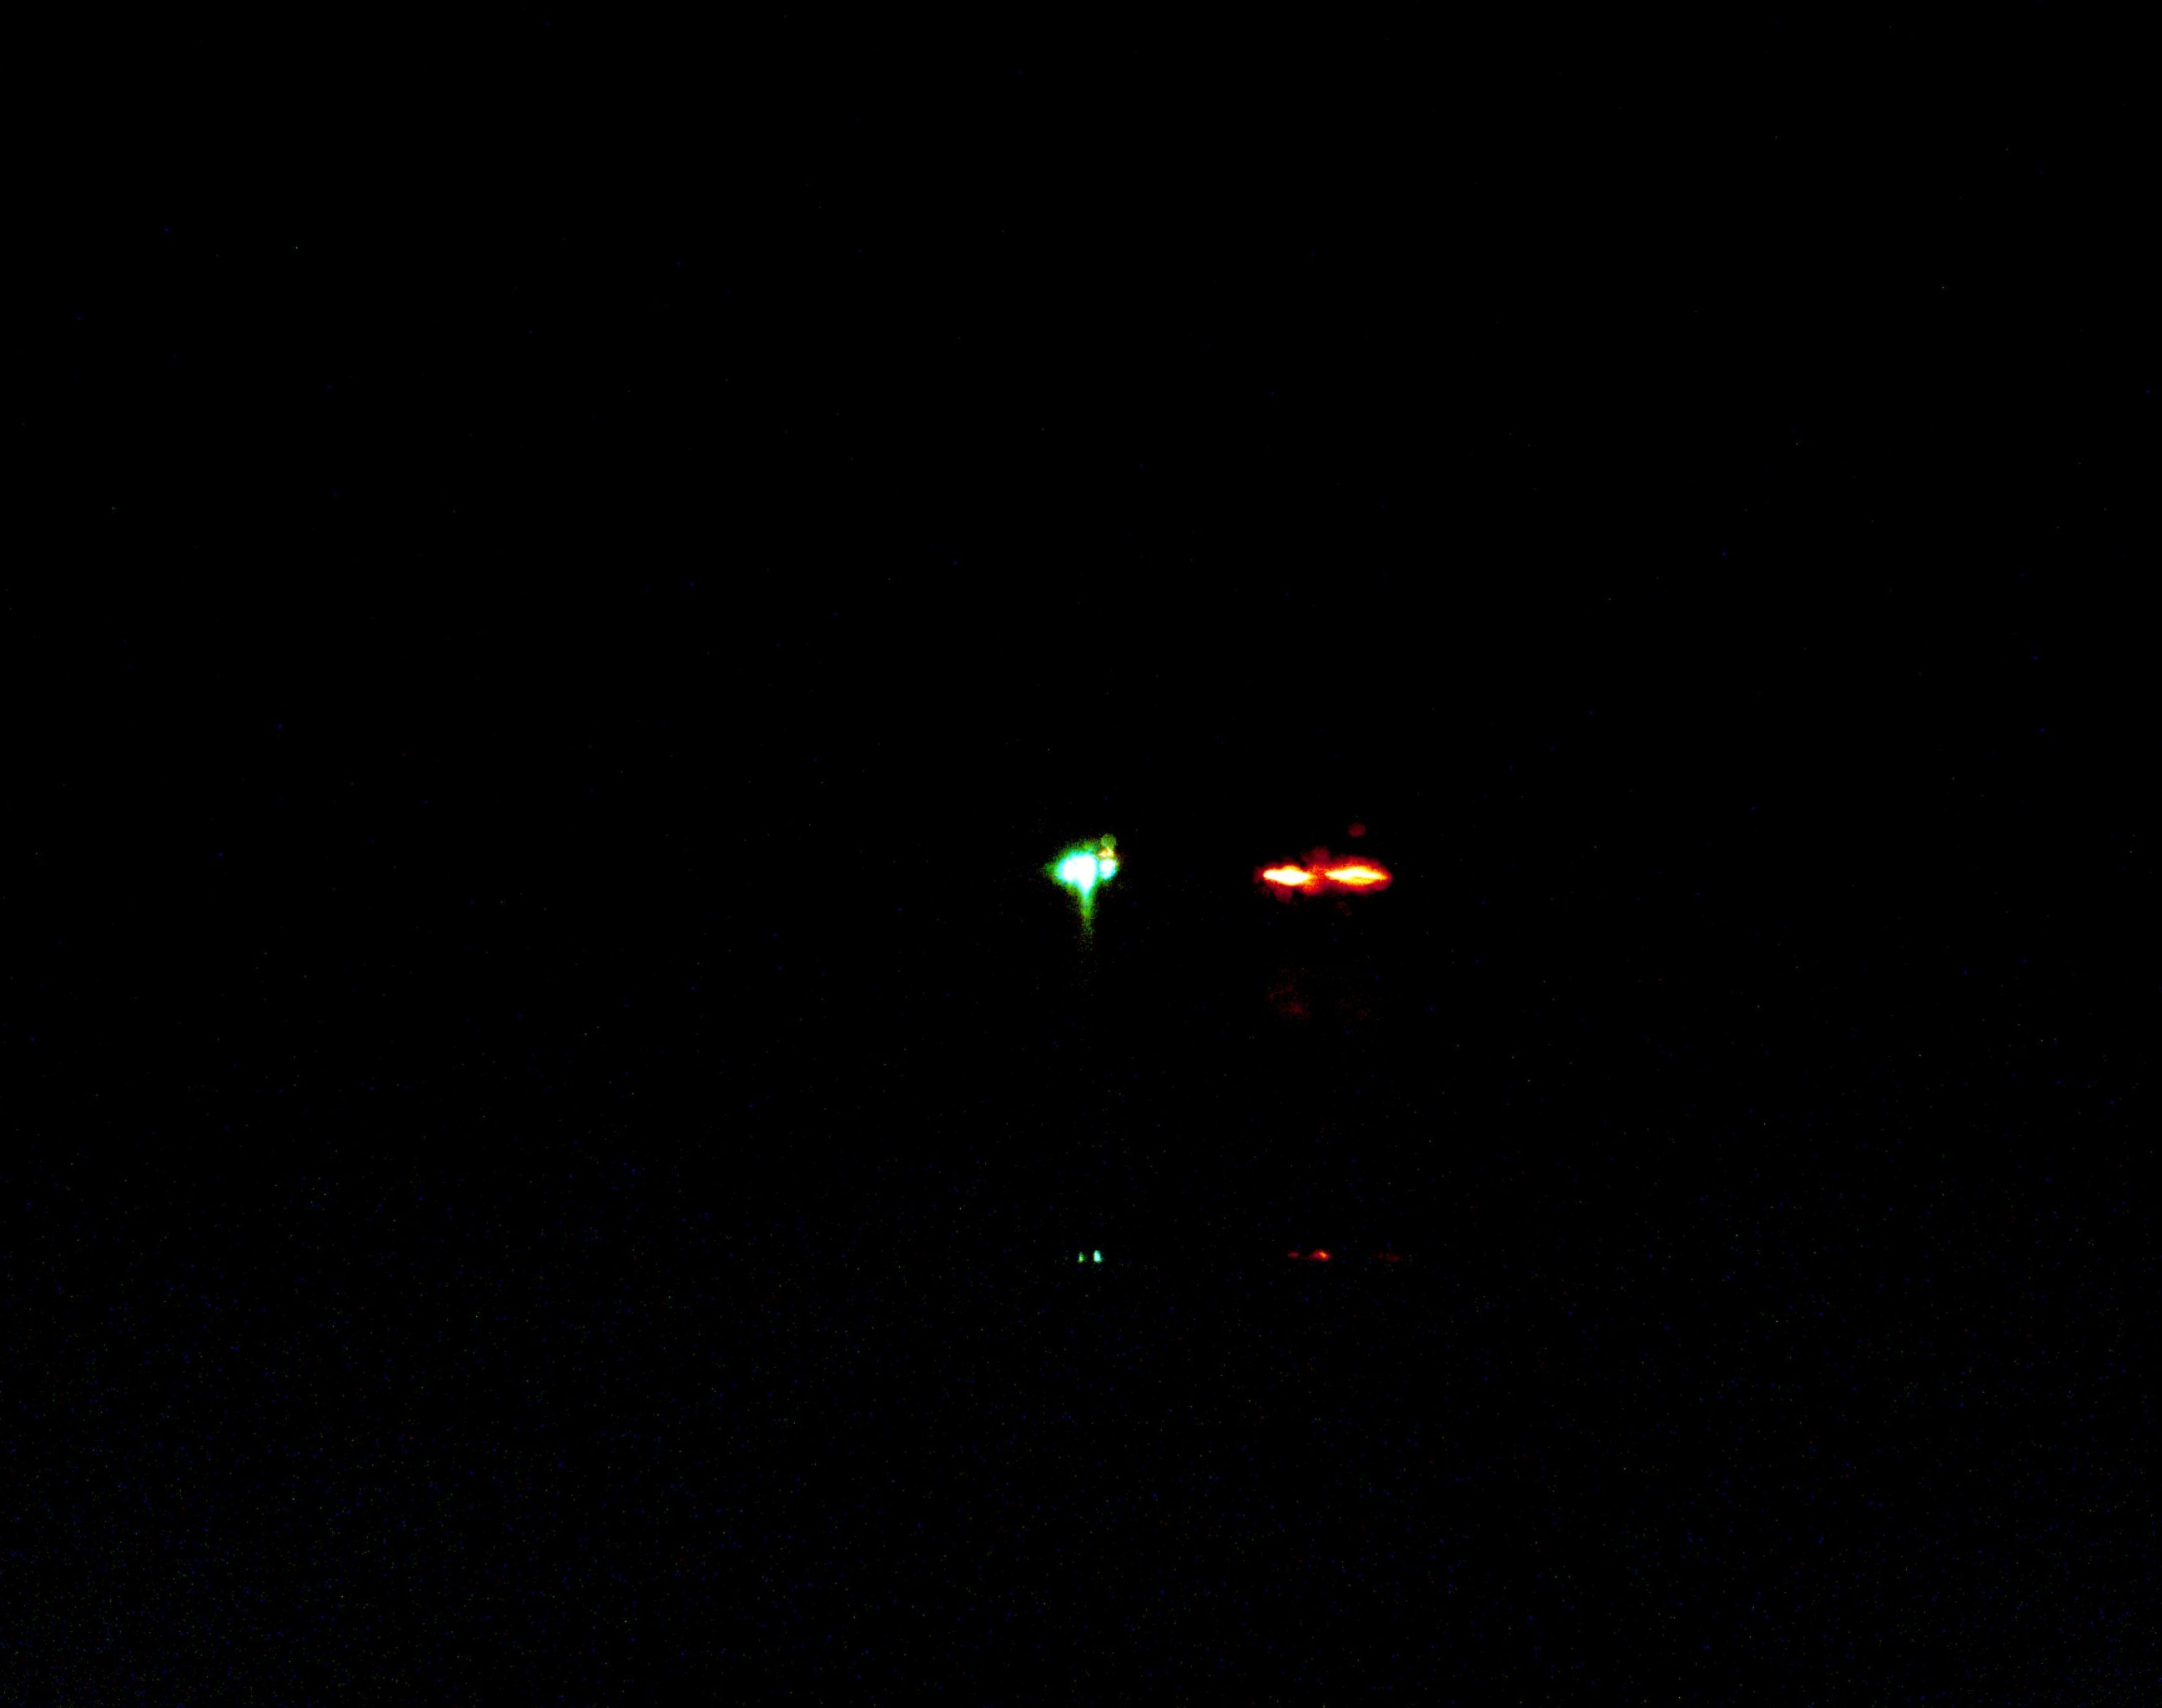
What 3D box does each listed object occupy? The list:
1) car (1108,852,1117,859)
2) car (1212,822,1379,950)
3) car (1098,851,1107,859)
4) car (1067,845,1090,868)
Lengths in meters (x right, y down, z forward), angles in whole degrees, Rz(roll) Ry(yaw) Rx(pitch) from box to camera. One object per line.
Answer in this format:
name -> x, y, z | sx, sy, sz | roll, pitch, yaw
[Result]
car -> 8.074, 0.369, 196.279 | 1.999, 1.849, 4.440 | -3, 1, -2
car -> 3.821, 0.505, 14.311 | 1.998, 2.002, 4.000 | -2, 1, 1
car -> 4.671, 0.208, 165.033 | 1.951, 1.718, 3.999 | -3, 1, 0
car -> -0.214, 0.188, 70.790 | 1.998, 2.002, 4.000 | -2, 1, 1
